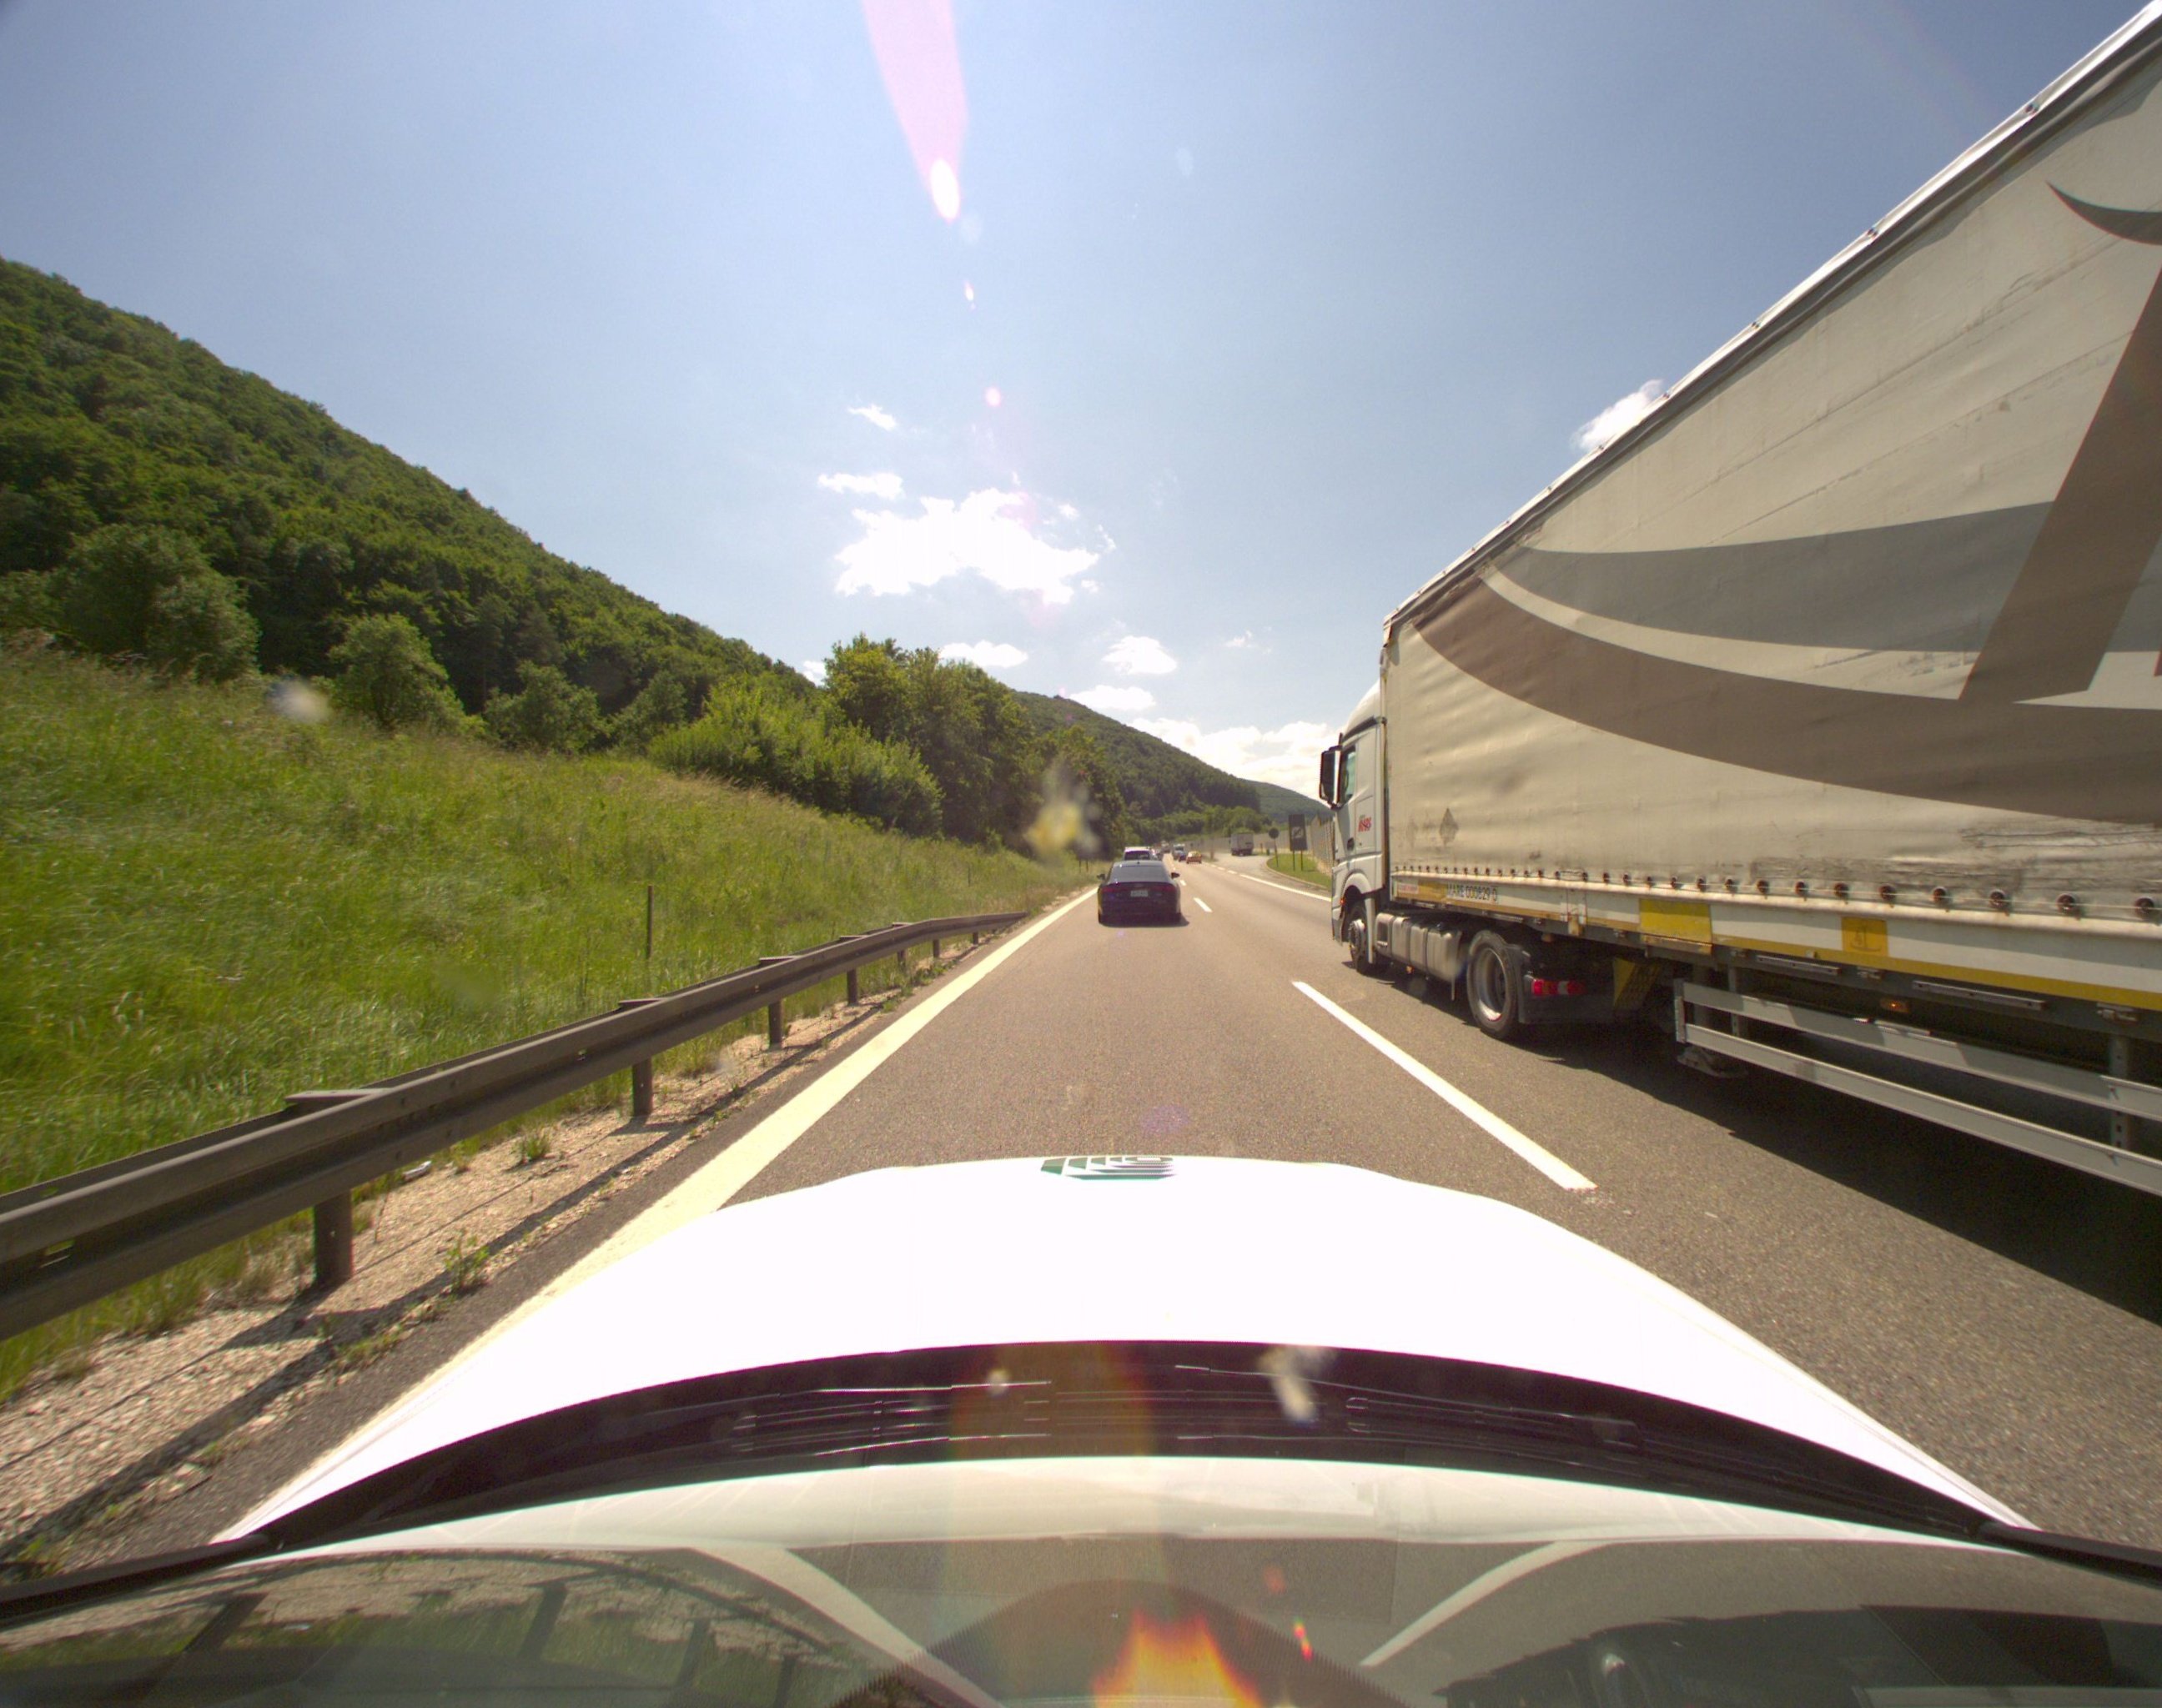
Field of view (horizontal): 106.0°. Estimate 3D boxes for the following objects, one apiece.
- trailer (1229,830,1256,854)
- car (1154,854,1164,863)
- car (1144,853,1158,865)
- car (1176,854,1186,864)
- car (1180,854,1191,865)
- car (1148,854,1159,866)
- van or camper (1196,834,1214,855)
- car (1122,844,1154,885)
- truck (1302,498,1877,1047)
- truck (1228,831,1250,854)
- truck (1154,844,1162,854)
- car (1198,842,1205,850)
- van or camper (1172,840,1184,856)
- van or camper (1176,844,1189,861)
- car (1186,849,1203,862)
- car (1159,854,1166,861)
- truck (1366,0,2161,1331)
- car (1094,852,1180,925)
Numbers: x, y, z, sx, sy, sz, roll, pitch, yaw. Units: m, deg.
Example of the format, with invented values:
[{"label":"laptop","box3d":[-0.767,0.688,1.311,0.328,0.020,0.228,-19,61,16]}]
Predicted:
[{"label":"trailer","box3d":[27.974,-1.965,141.157,3.395,3.900,11.168,-2,0,6]},{"label":"car","box3d":[13.364,0.764,139.360,1.513,1.553,3.521,0,0,7]},{"label":"car","box3d":[8.002,0.587,93.181,1.514,1.294,3.517,0,0,3]},{"label":"car","box3d":[16.711,0.837,136.088,1.522,1.525,3.603,0,-1,6]},{"label":"car","box3d":[14.945,0.777,116.237,1.522,1.525,3.603,0,-1,6]},{"label":"car","box3d":[9.963,0.857,111.864,1.513,1.553,3.520,0,0,6]},{"label":"van or camper","box3d":[23.046,-1.686,151.038,2.782,3.841,6.173,0,-1,4]},{"label":"car","box3d":[2.782,0.506,40.210,1.515,1.968,3.517,0,0,3]},{"label":"truck","box3d":[4.584,-0.593,8.981,2.710,4.068,5.754,-1,-1,1]},{"label":"truck","box3d":[28.514,-2.004,146.968,3.395,3.900,5.396,-2,0,5]},{"label":"truck","box3d":[21.354,-1.312,225.044,2.053,2.605,5.626,0,0,8]},{"label":"car","box3d":[34.021,-2.263,229.953,1.568,2.013,3.434,-2,0,6]},{"label":"van or camper","box3d":[25.209,-1.470,212.388,2.782,3.907,6.173,0,-1,4]},{"label":"van or camper","box3d":[20.409,-0.272,164.169,2.417,3.155,5.212,0,-1,6]},{"label":"car","box3d":[14.040,0.162,101.115,1.869,1.499,4.007,-2,0,6]},{"label":"car","box3d":[17.778,0.737,177.505,1.513,1.553,3.520,0,0,6]},{"label":"truck","box3d":[4.462,-0.675,2.170,2.716,4.068,13.742,-1,-1,1]},{"label":"car","box3d":[1.375,0.747,19.282,1.803,1.514,3.519,-2,0,5]}]
